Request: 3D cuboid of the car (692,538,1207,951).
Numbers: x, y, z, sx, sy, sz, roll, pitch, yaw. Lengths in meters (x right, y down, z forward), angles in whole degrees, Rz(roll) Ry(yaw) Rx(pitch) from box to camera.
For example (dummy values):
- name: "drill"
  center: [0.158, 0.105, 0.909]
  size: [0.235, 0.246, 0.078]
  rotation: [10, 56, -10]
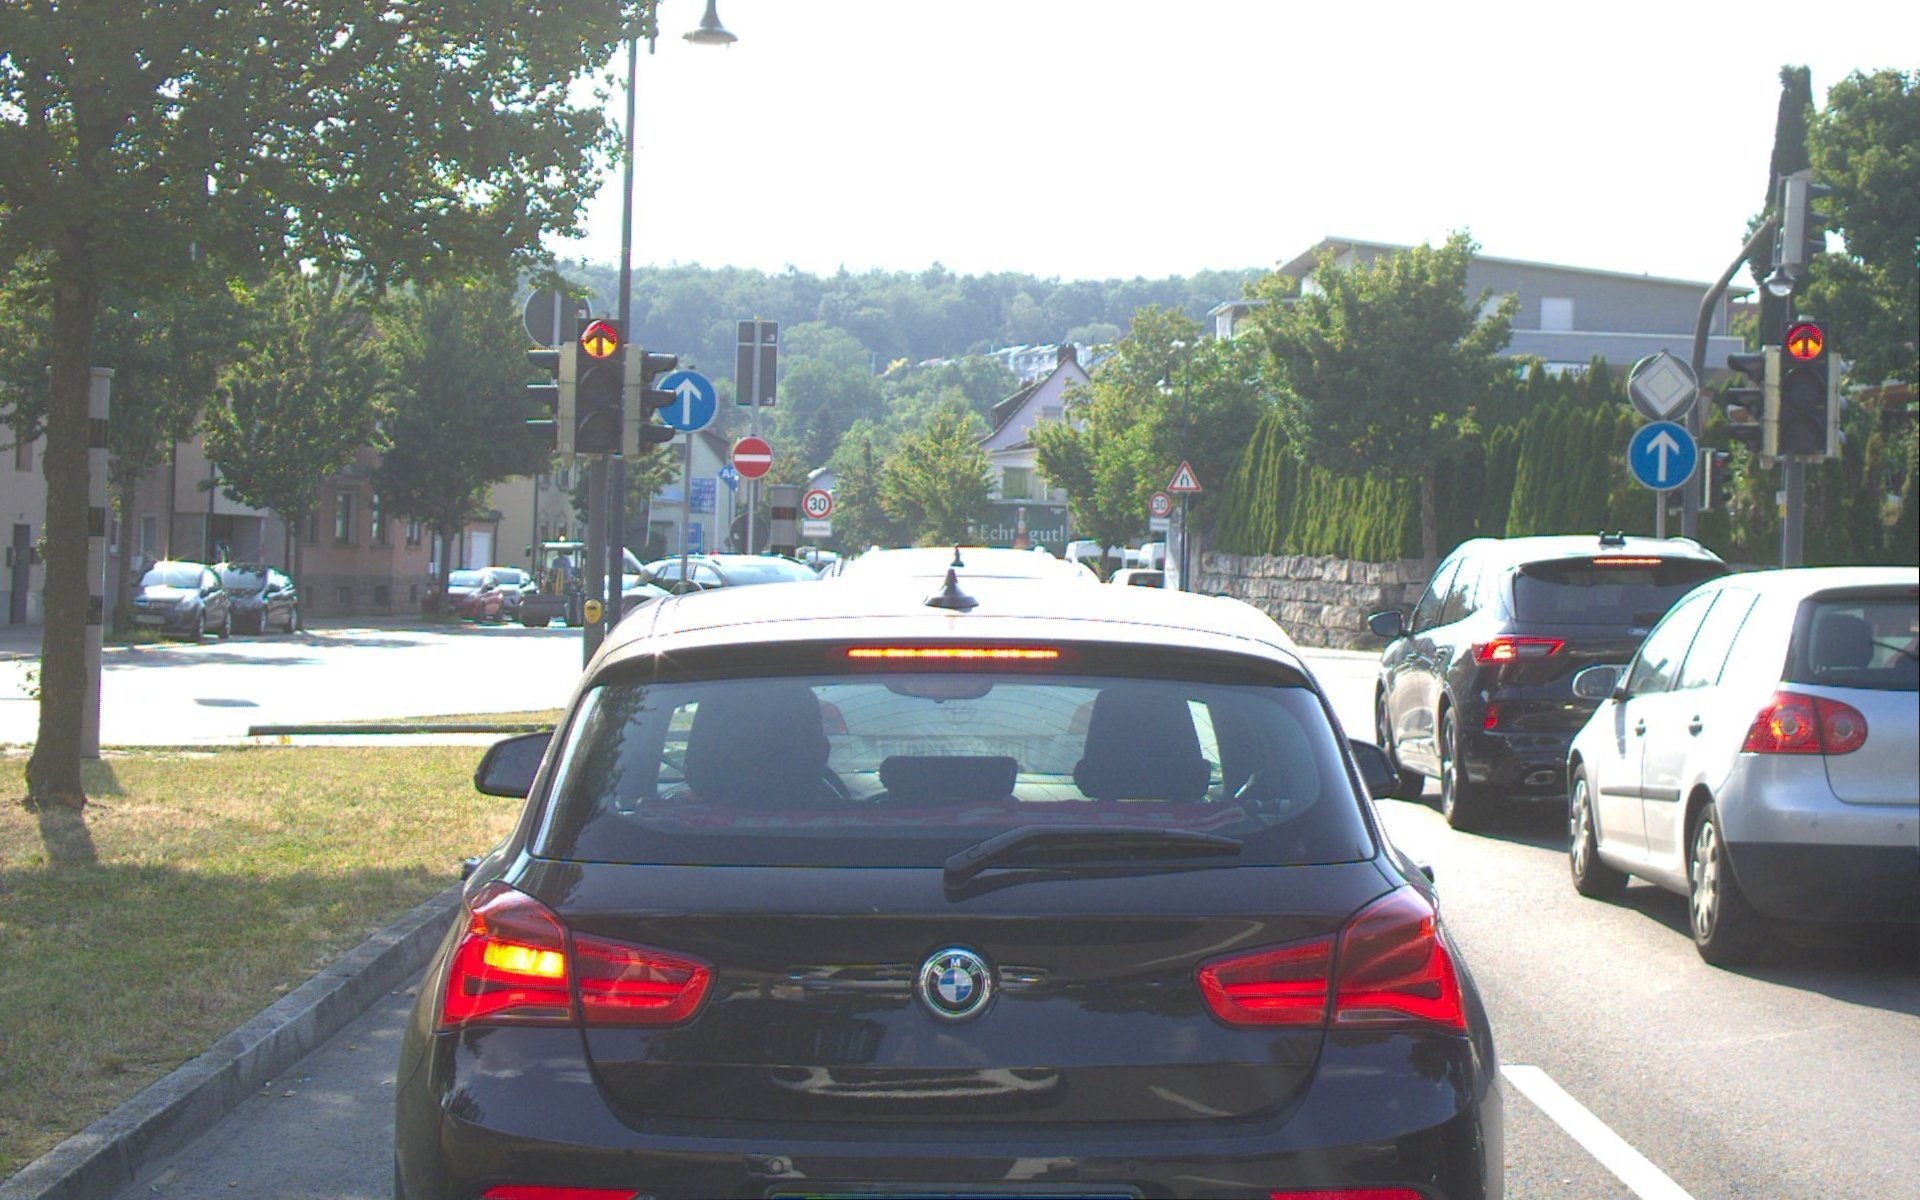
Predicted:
- name: "car"
  center: [-0.002, 0.480, 14.346]
  size: [1.816, 1.446, 4.242]
  rotation: [1, 1, 1]

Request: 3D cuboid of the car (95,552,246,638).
- name: "car"
  center: [-15.370, -0.128, 67.121]
  size: [1.924, 1.590, 4.000]
  rotation: [1, 1, 1]

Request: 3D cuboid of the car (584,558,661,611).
- name: "car"
  center: [-10.484, -0.501, 107.041]
  size: [1.924, 1.590, 4.000]
  rotation: [1, 1, 1]

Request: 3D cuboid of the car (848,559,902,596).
- name: "car"
  center: [-3.615, -0.945, 144.805]
  size: [1.861, 1.480, 4.660]
  rotation: [1, 1, -6]

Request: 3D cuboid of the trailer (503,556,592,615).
- name: "trailer"
  center: [-11.372, -0.415, 95.004]
  size: [1.993, 1.546, 4.000]
  rotation: [1, 1, -1]

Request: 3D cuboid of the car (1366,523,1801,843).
- name: "car"
  center: [3.535, 0.403, 20.259]
  size: [1.816, 1.660, 4.347]
  rotation: [1, 1, 1]

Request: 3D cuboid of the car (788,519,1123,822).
- name: "car"
  center: [0.010, 0.353, 20.931]
  size: [1.816, 1.635, 4.242]
  rotation: [1, 1, 1]

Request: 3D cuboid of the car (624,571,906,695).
- name: "car"
  center: [-2.388, 0.361, 41.196]
  size: [1.693, 1.348, 4.000]
  rotation: [0, 1, -31]

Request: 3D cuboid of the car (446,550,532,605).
- name: "car"
  center: [-14.069, -0.698, 102.805]
  size: [1.924, 1.590, 4.000]
  rotation: [1, 1, 1]

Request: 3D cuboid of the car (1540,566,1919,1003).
- name: "car"
  center: [3.572, 0.608, 13.752]
  size: [1.816, 1.441, 4.347]
  rotation: [1, 1, 1]

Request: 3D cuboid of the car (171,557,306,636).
- name: "car"
  center: [-15.260, -0.102, 72.916]
  size: [1.924, 1.590, 4.000]
  rotation: [1, 1, 1]

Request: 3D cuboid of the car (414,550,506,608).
- name: "car"
  center: [-14.134, -0.611, 97.300]
  size: [1.924, 1.590, 4.000]
  rotation: [1, 1, 1]

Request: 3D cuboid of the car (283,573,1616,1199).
- name: "car"
  center: [0.015, 0.679, 6.813]
  size: [1.791, 1.410, 4.347]
  rotation: [1, 1, 1]
